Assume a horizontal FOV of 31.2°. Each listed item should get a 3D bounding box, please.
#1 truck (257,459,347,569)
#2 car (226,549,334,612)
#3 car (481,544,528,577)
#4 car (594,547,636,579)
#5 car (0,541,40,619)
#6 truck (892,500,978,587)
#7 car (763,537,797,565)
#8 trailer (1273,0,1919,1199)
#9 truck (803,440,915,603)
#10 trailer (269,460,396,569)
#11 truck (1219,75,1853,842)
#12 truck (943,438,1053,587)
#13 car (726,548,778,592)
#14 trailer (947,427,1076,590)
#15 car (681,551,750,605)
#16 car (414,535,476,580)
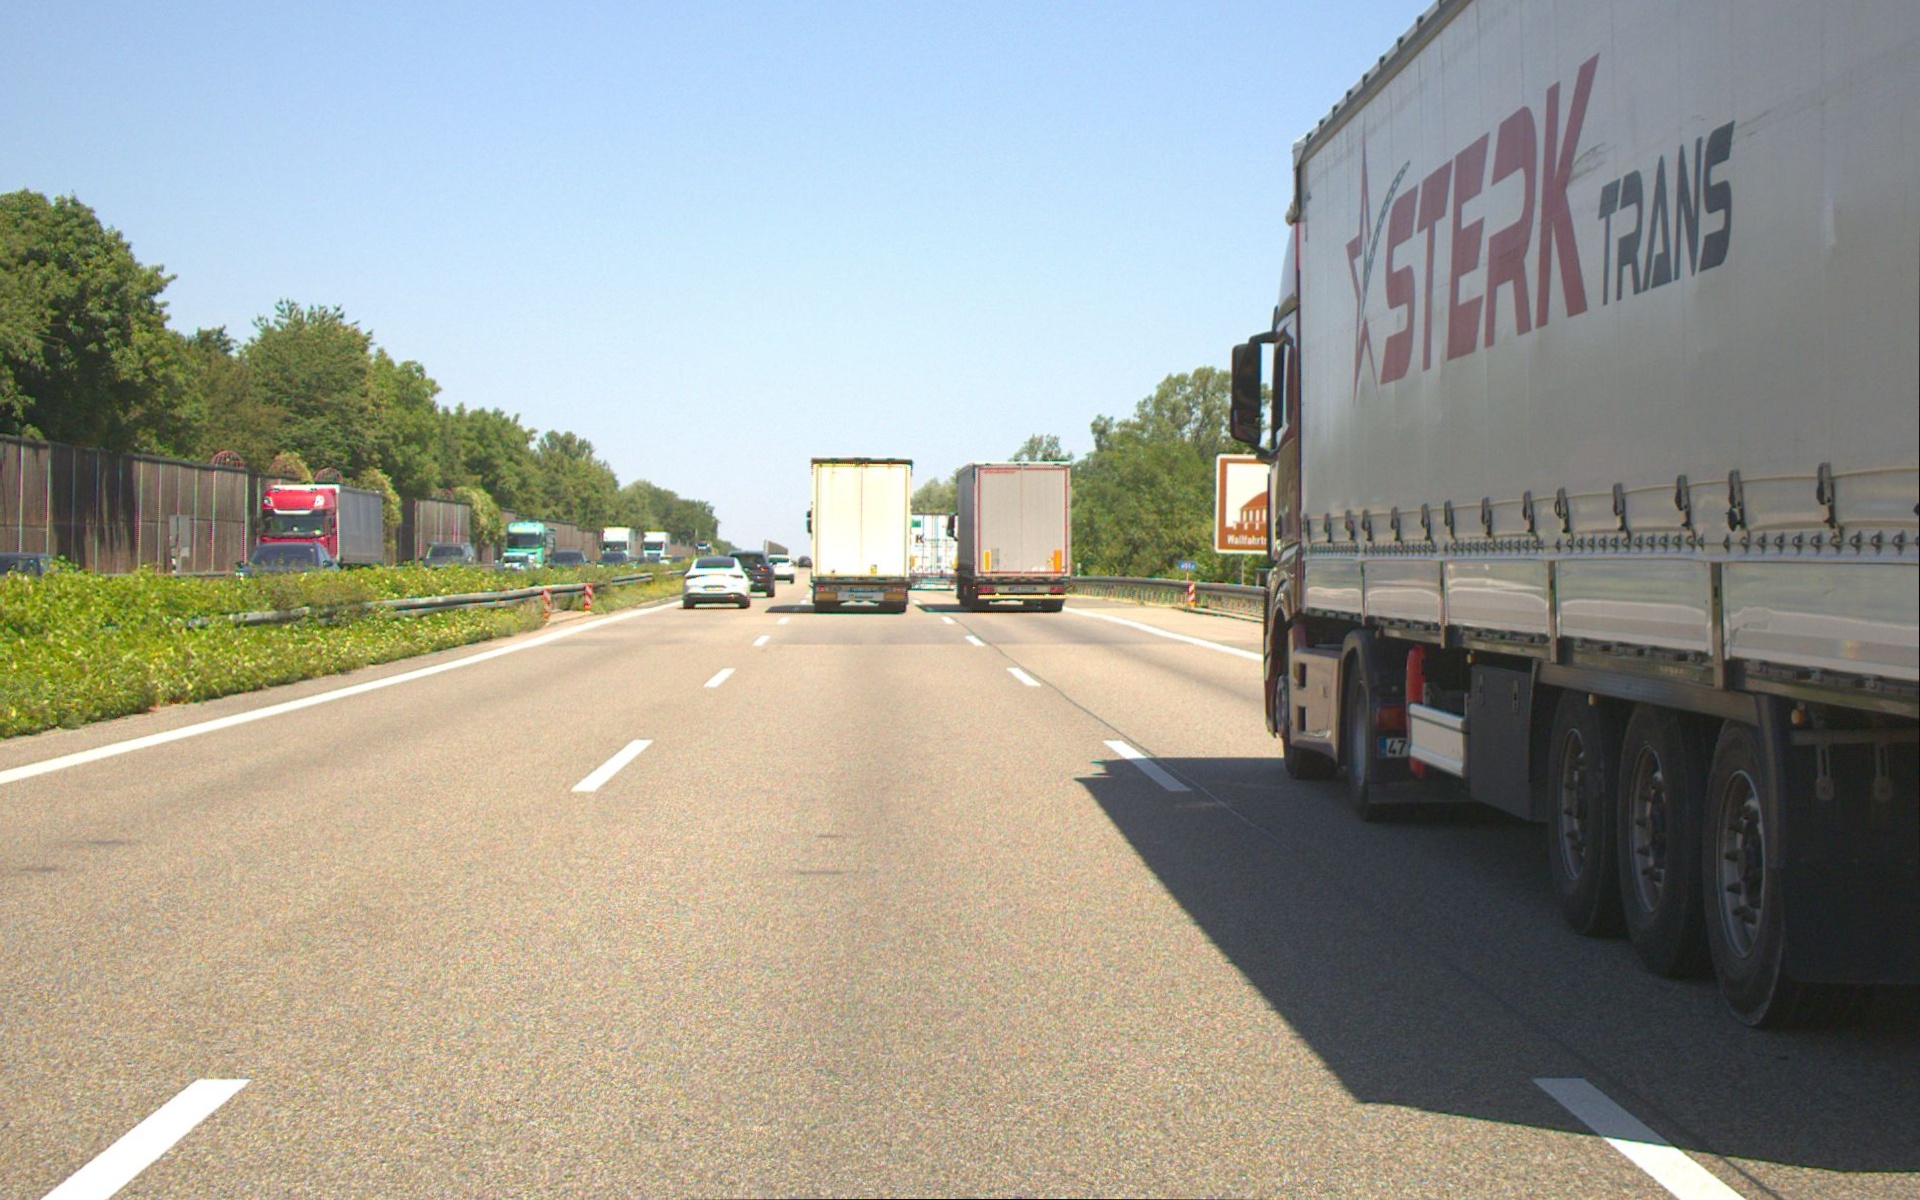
[{"bbox_3d":[-24.765,-3.209,129.464,2.487,4.073,4.677,0,1,0],"label":"truck"},{"bbox_3d":[-15.156,-0.448,76.803,1.706,1.350,4.000,0,1,-1],"label":"car"},{"bbox_3d":[-24.024,-2.076,181.417,1.993,1.714,4.533,0,1,-2],"label":"car"},{"bbox_3d":[-19.070,-2.038,190.282,1.993,1.714,4.533,0,1,-2],"label":"car"},{"bbox_3d":[-20.533,-0.427,71.481,1.813,1.594,4.000,0,1,-1],"label":"car"},{"bbox_3d":[-1.373,-2.987,181.354,3.373,4.289,11.452,3,1,-5],"label":"truck"},{"bbox_3d":[-10.740,-2.916,204.808,1.855,1.611,4.001,0,1,-5],"label":"car"},{"bbox_3d":[3.460,-0.701,14.753,2.707,4.074,14.152,0,1,-1],"label":"trailer"},{"bbox_3d":[-2.862,-2.082,94.000,2.706,4.072,13.475,1,1,-3],"label":"truck"},{"bbox_3d":[-24.775,-3.304,136.511,2.496,4.073,14.271,0,1,0],"label":"trailer"},{"bbox_3d":[3.342,-0.800,21.855,2.707,4.074,6.965,0,1,-1],"label":"truck"},{"bbox_3d":[1.067,-2.550,102.158,2.691,4.201,7.839,1,1,-3],"label":"truck"},{"bbox_3d":[-7.659,-1.113,126.800,1.855,1.611,4.001,0,1,-3],"label":"car"},{"bbox_3d":[1.333,-2.478,96.745,2.703,4.201,13.213,1,1,-3],"label":"trailer"},{"bbox_3d":[-6.922,-0.639,97.563,1.855,1.481,4.001,0,1,-3],"label":"car"},{"bbox_3d":[-21.526,-1.775,143.944,1.993,1.809,5.220,0,1,-2],"label":"car"}]
